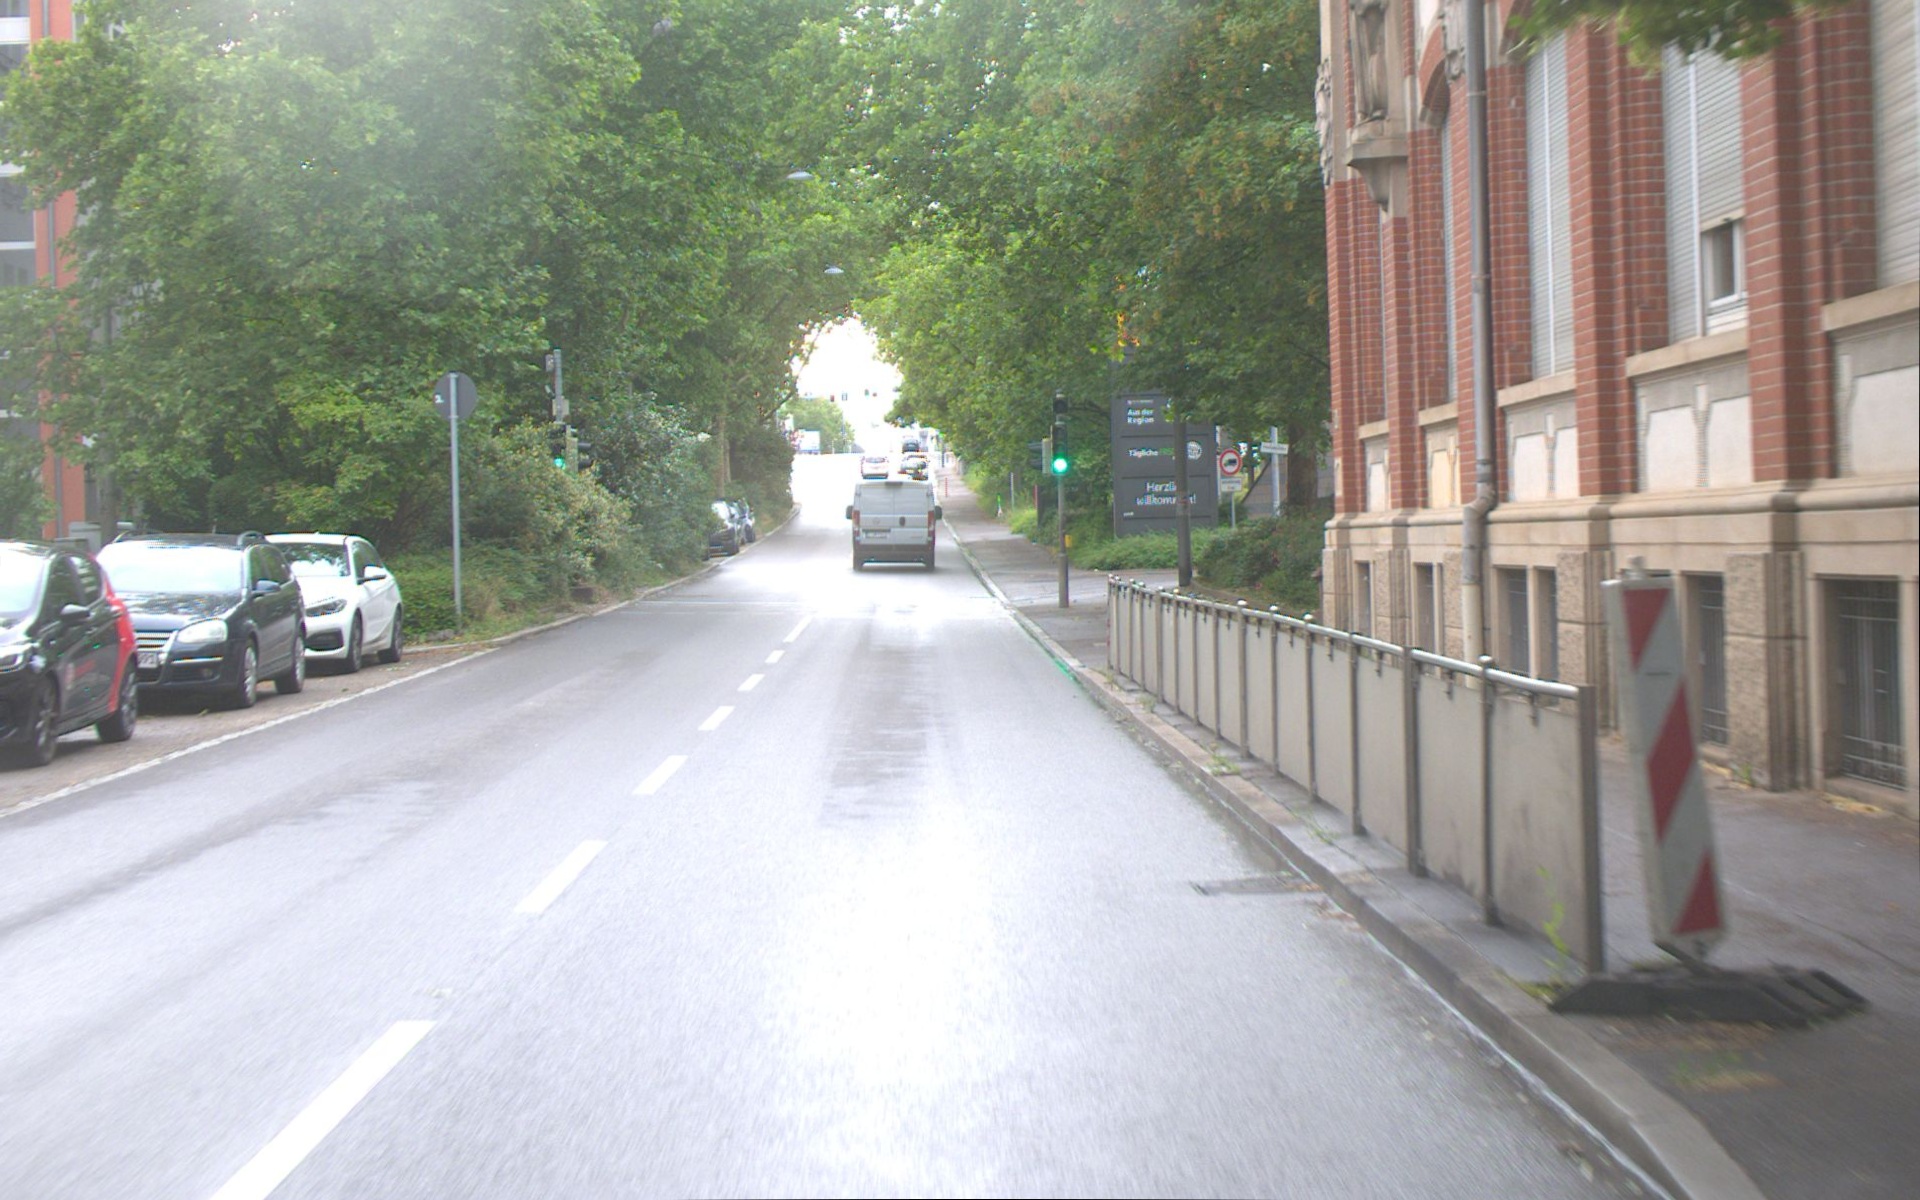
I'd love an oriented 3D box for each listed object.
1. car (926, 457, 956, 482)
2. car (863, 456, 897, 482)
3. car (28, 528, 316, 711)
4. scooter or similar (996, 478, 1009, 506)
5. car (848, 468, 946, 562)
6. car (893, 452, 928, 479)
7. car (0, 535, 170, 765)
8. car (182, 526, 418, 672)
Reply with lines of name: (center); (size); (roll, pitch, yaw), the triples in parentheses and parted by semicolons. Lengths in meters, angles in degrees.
car: (-1.365, -9.340, 246.431); (1.930, 1.703, 3.873); (1, 0, 3)
car: (-5.714, -9.404, 246.398); (2.159, 1.703, 3.873); (1, 0, 3)
car: (-6.797, 0.114, 30.049); (1.716, 1.462, 4.234); (0, 1, -3)
scooter or similar: (1.761, -4.422, 141.031); (0.425, 1.138, 1.529); (1, 0, -3)
car: (-1.549, -2.106, 85.743); (2.336, 2.223, 4.000); (-2, 1, 0)
car: (-3.444, -9.300, 238.187); (2.149, 1.703, 3.873); (1, 0, 3)
car: (-6.740, 0.290, 23.987); (1.716, 1.462, 3.756); (0, 1, -2)
car: (-7.021, -0.053, 36.959); (1.717, 1.462, 4.310); (0, 1, 0)
